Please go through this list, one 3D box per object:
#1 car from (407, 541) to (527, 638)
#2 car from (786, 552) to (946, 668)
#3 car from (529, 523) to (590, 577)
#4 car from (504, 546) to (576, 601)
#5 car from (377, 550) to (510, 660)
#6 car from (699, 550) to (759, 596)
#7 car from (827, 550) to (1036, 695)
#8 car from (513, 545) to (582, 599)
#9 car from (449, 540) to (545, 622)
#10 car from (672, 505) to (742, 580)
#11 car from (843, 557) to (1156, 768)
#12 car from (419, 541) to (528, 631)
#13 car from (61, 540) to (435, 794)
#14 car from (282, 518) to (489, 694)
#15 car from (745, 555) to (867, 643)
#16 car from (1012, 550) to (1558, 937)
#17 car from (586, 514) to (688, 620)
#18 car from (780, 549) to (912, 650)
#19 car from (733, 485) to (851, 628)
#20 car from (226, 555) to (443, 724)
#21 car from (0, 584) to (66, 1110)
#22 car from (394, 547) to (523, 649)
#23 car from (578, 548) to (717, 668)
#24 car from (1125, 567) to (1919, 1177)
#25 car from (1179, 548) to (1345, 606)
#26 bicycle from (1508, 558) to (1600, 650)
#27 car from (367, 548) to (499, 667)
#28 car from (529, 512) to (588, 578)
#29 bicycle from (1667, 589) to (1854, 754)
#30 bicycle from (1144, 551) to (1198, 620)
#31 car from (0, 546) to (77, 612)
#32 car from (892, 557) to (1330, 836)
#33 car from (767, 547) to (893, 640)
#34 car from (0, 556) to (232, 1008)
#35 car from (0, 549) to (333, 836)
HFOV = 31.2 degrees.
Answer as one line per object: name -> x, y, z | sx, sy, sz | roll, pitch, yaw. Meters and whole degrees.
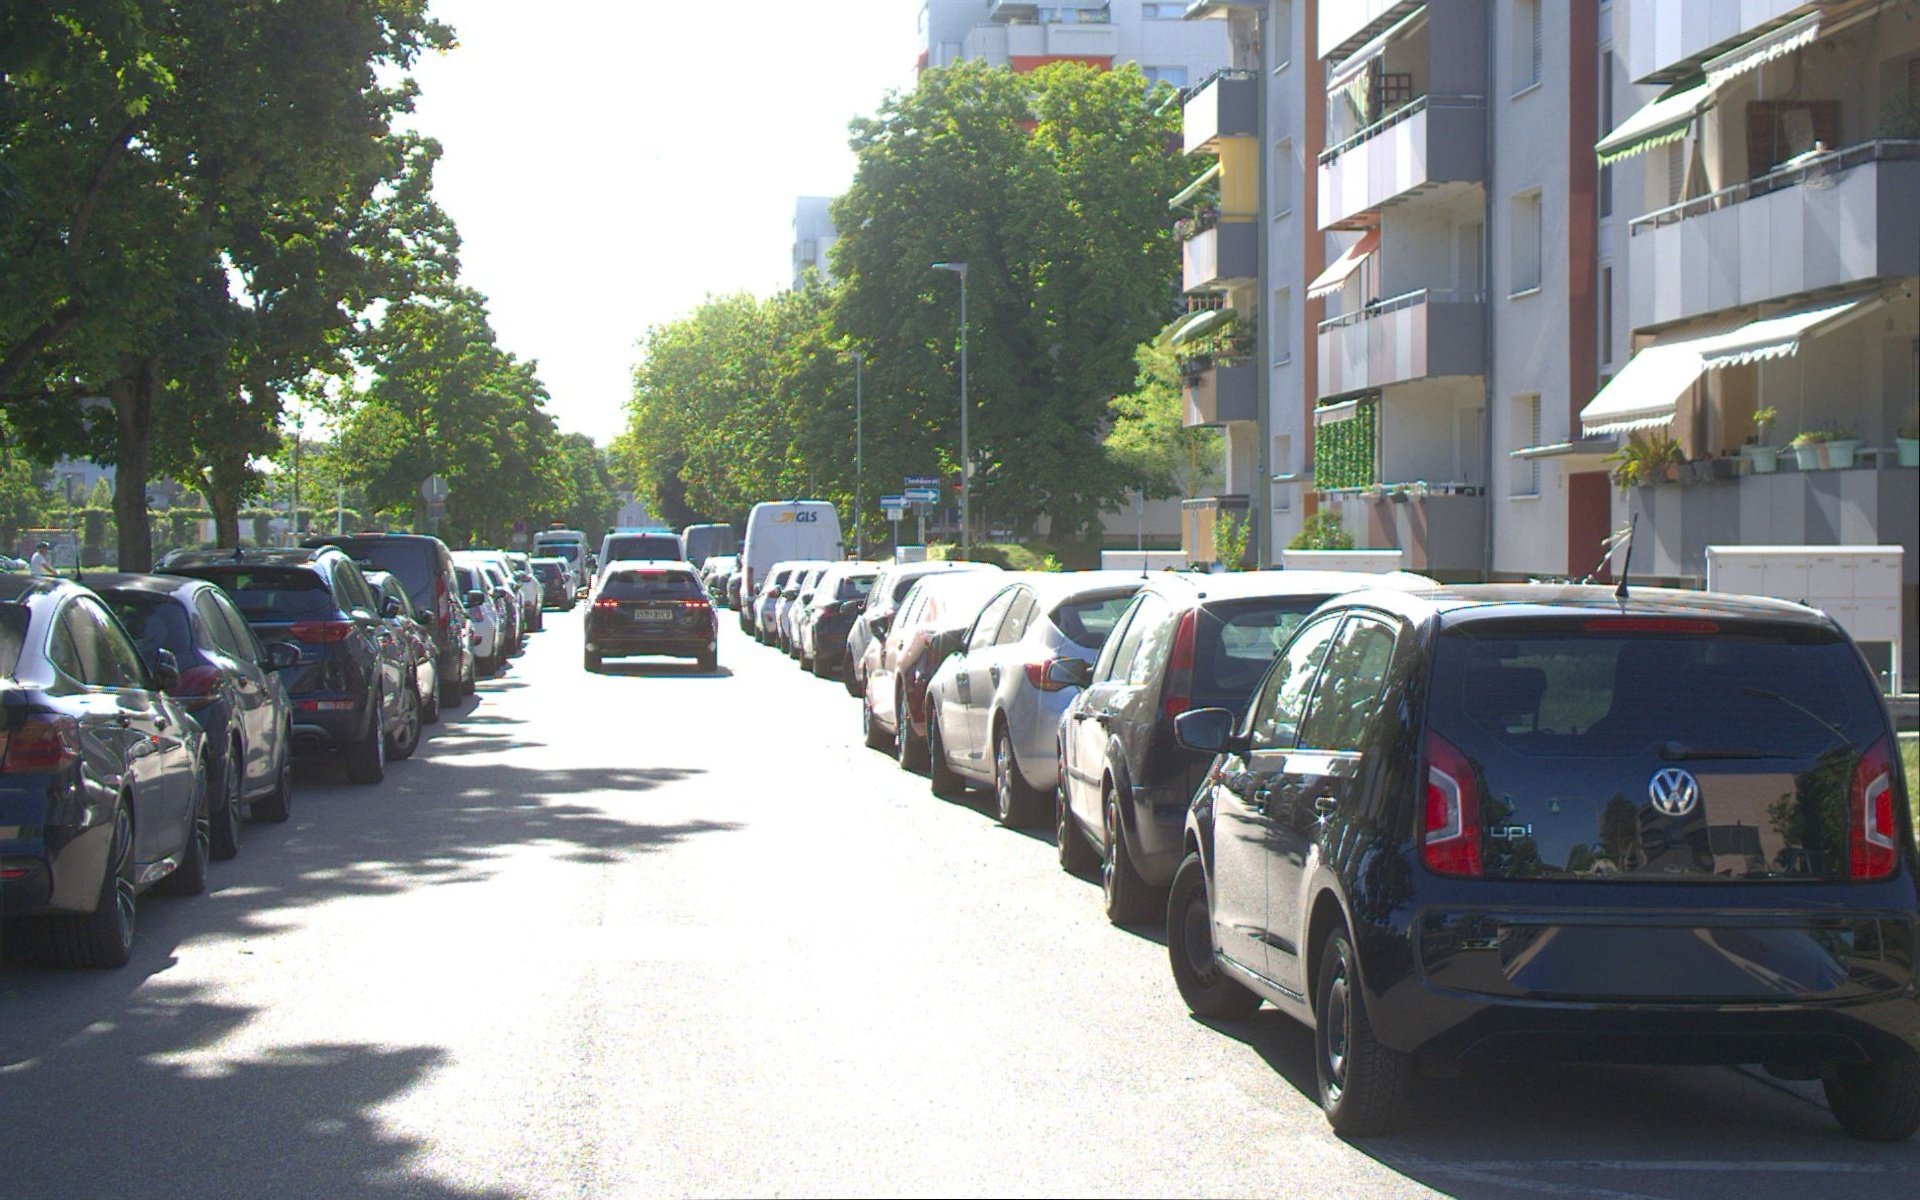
car -> -8.647, -0.217, 60.589 | 1.819, 1.604, 4.740 | -2, 1, -6
car -> -1.321, 0.096, 46.295 | 1.699, 1.430, 4.472 | -2, 1, -7
car -> -14.630, -1.829, 125.690 | 2.098, 1.936, 4.127 | 0, 1, -5
car -> -11.596, -0.725, 95.129 | 1.748, 1.420, 3.917 | -2, 0, -4
car -> -7.532, 0.035, 50.448 | 1.755, 1.487, 4.669 | -2, 1, -7
car -> -7.089, -0.838, 105.255 | 1.779, 1.366, 4.127 | 0, 1, -4
car -> -0.366, 0.201, 37.763 | 1.747, 1.494, 3.862 | -1, 1, -9
car -> -11.922, -0.810, 99.639 | 1.777, 1.490, 3.875 | -2, 0, -4
car -> -9.819, -0.422, 73.143 | 1.756, 1.641, 4.288 | -2, 1, -4
car -> -9.359, -2.128, 126.672 | 2.162, 2.680, 5.418 | 0, 1, -9
car -> 0.197, 0.410, 26.839 | 1.843, 1.467, 5.066 | 0, 1, -6
car -> -9.392, -0.298, 66.635 | 1.842, 1.633, 4.716 | -2, 1, -5
car -> -5.036, 0.400, 24.959 | 2.025, 1.620, 4.758 | -1, 1, -4
car -> -6.147, 0.046, 37.255 | 1.864, 1.778, 4.992 | 0, 0, -5
car -> -2.804, -0.038, 61.721 | 1.848, 1.461, 4.203 | 1, 1, -7
car -> 1.332, 0.536, 15.948 | 1.769, 1.524, 4.558 | 0, 1, -4
car -> -6.357, -0.664, 68.030 | 1.894, 1.984, 4.011 | -2, 1, -4
car -> -1.753, -0.034, 51.709 | 1.721, 1.430, 4.153 | -1, 1, -5
car -> -3.466, -0.897, 69.653 | 2.142, 2.703, 6.842 | -2, 1, -4
car -> -5.607, 0.307, 31.202 | 1.538, 1.423, 4.088 | 0, 1, -5
car -> -3.444, 0.713, 8.415 | 1.835, 1.447, 4.969 | 0, 1, -8
car -> -8.063, -0.069, 55.591 | 1.873, 1.514, 4.471 | -2, 1, -7
car -> -4.240, 0.073, 47.008 | 1.779, 1.526, 4.001 | 1, 1, -4
car -> 1.617, 0.670, 10.478 | 1.658, 1.469, 3.793 | 1, 1, -5
car -> 7.613, -0.589, 86.784 | 3.886, 1.424, 1.659 | 0, 1, -9
bicycle -> 7.216, 0.035, 41.856 | 0.523, 1.067, 2.010 | -2, 1, -6
car -> -7.018, 0.067, 46.031 | 1.586, 1.487, 3.686 | -2, 1, -7
car -> -15.415, -2.118, 132.055 | 2.098, 2.488, 4.127 | 0, 1, -4
bicycle -> 5.517, 0.475, 23.799 | 0.720, 1.074, 1.897 | 0, 1, -4
bicycle -> 3.624, -0.238, 59.243 | 0.595, 1.172, 2.014 | 0, -1, -6
car -> -22.466, -0.482, 77.993 | 4.333, 1.404, 1.921 | 0, 3, -30
car -> 0.811, 0.509, 21.485 | 1.873, 1.528, 4.494 | 0, 1, -9
car -> -2.196, -0.135, 57.067 | 1.877, 1.470, 4.141 | 0, 1, -5
car -> -4.216, 0.605, 14.186 | 1.993, 1.511, 5.159 | -1, 1, -8
car -> -4.615, 0.460, 19.021 | 1.880, 1.414, 3.804 | -1, 0, -5
